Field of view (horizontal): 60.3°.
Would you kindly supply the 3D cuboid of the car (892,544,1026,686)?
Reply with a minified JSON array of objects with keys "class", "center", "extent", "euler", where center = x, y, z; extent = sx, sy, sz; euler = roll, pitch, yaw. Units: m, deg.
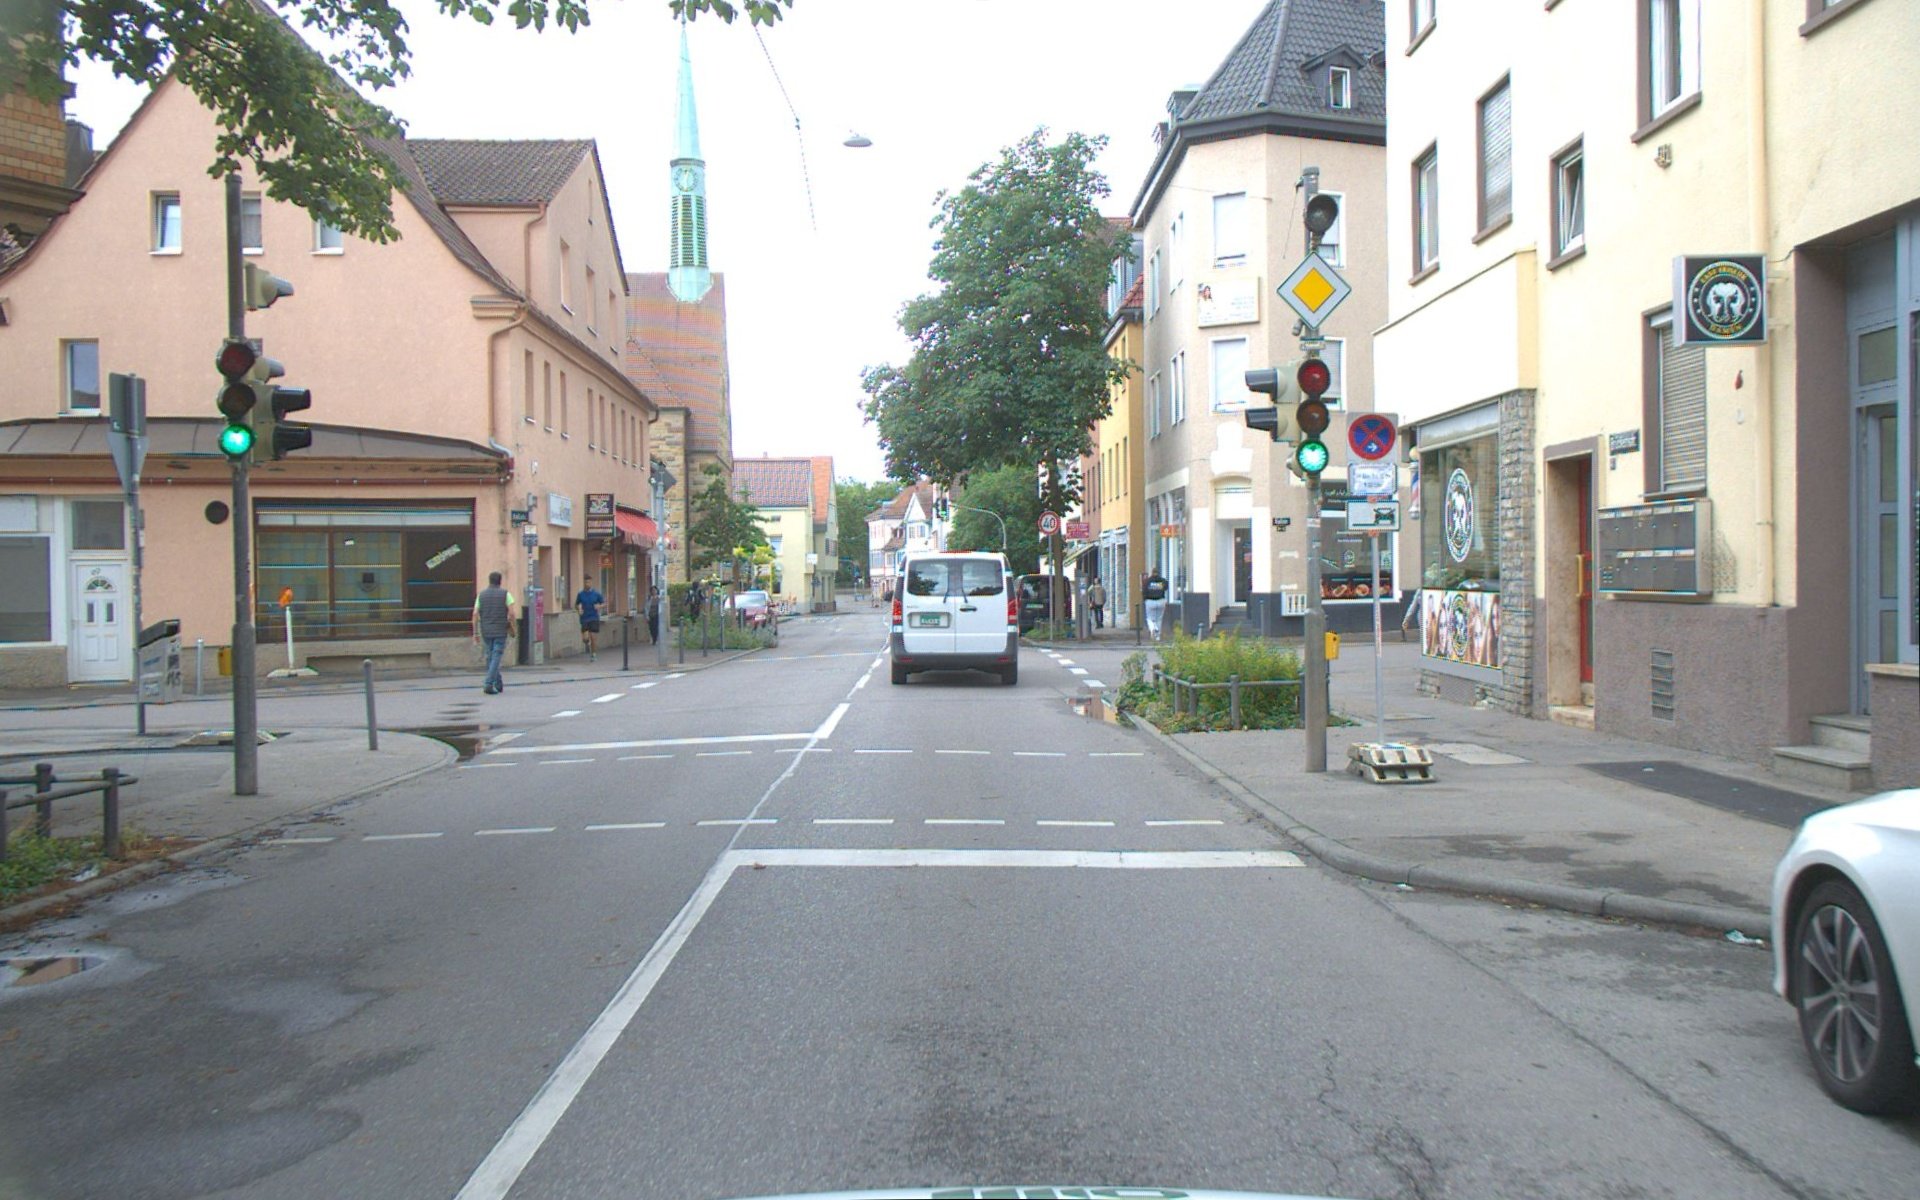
[{"class":"car","center":[-0.054,0.197,24.970],"extent":[1.835,1.945,3.999],"euler":[-1,0,-1]}]

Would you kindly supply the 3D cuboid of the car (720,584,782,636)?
[{"class":"car","center":[-7.117,0.311,56.704],"extent":[1.669,1.601,4.448],"euler":[-3,1,-3]}]

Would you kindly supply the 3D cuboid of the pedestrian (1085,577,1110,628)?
[{"class":"pedestrian","center":[4.659,0.087,55.965],"extent":[0.687,1.678,0.888],"euler":[-2,0,-3]}]

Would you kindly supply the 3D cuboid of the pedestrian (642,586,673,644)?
[{"class":"pedestrian","center":[-8.240,0.404,45.085],"extent":[0.724,1.561,0.982],"euler":[0,0,-3]}]

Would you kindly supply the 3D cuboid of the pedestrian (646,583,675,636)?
[{"class":"pedestrian","center":[-9.489,0.294,52.439],"extent":[0.721,1.657,0.752],"euler":[-1,0,-26]}]

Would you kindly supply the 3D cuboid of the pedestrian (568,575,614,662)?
[{"class":"pedestrian","center":[-7.489,0.366,33.589],"extent":[0.724,1.748,1.156],"euler":[0,0,-4]}]

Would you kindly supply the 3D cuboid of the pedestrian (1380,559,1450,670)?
[{"class":"pedestrian","center":[7.125,0.227,25.916],"extent":[0.669,1.693,0.790],"euler":[-1,-1,-38]}]

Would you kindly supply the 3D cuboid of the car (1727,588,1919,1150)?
[{"class":"car","center":[3.369,0.717,3.158],"extent":[1.730,1.491,4.784],"euler":[-1,0,2]}]

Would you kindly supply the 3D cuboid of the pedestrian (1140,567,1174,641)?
[{"class":"pedestrian","center":[4.554,0.082,38.268],"extent":[0.602,1.681,0.982],"euler":[-1,0,-3]}]

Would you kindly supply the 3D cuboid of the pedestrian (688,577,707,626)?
[{"class":"pedestrian","center":[-10.204,0.052,64.354],"extent":[0.559,1.880,0.696],"euler":[2,0,-2]}]

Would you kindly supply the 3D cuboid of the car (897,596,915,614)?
[{"class":"car","center":[-6.068,0.583,184.246],"extent":[1.896,2.049,3.997],"euler":[0,0,-3]}]

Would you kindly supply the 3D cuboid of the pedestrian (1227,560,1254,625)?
[{"class":"pedestrian","center":[6.843,-0.183,40.377],"extent":[0.555,1.588,0.520],"euler":[0,-1,-2]}]

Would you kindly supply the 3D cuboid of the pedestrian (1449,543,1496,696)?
[{"class":"pedestrian","center":[6.166,0.234,19.885],"extent":[0.392,1.805,0.383],"euler":[0,-1,-35]}]

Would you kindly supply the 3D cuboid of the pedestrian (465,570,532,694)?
[{"class":"pedestrian","center":[-6.749,0.454,24.205],"extent":[0.724,1.785,0.982],"euler":[0,0,-2]}]

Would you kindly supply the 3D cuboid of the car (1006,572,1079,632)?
[{"class":"car","center":[2.536,0.071,51.913],"extent":[1.783,1.812,4.400],"euler":[-1,0,-4]}]
